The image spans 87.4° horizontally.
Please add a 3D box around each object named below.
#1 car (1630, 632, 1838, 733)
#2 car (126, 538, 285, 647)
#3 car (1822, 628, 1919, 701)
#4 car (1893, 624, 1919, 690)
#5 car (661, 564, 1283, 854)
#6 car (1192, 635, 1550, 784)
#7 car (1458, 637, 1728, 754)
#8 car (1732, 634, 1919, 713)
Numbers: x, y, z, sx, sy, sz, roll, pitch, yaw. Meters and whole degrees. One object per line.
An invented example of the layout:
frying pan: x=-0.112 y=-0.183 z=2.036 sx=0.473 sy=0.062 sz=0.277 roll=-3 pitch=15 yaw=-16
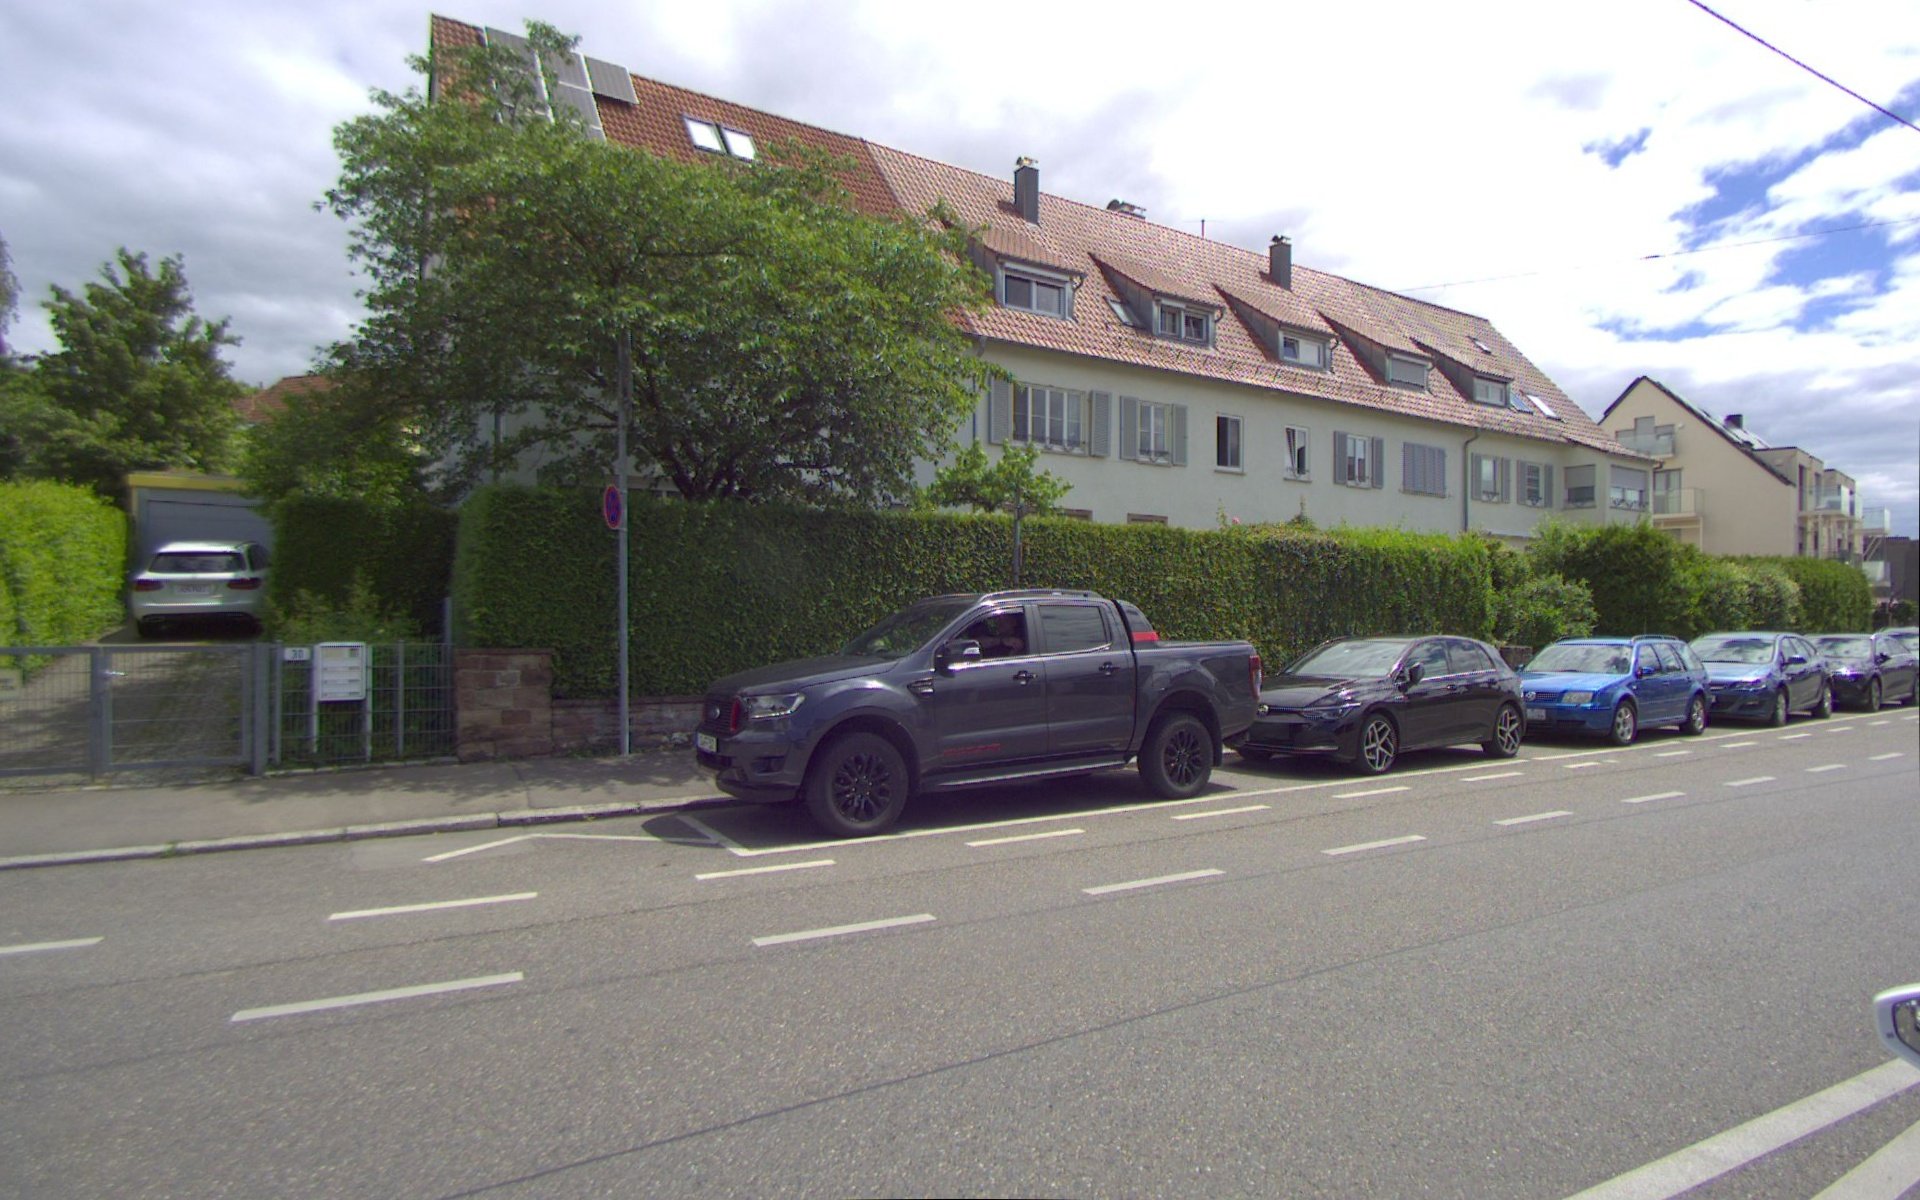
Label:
car: x=13.414 y=1.316 z=17.315 sx=4.524 sy=1.511 sz=1.764 roll=1 pitch=-1 yaw=-38
car: x=-12.616 y=-0.201 z=17.019 sx=1.707 sy=1.573 sz=3.966 roll=1 pitch=3 yaw=-31
car: x=22.518 y=1.469 z=23.808 sx=4.639 sy=1.584 sz=1.982 roll=1 pitch=-1 yaw=-33
car: x=26.762 y=1.500 z=26.724 sx=4.472 sy=1.672 sz=1.981 roll=1 pitch=-1 yaw=-35
car: x=0.281 y=0.815 z=8.952 sx=5.344 sy=1.920 sz=1.983 roll=1 pitch=-3 yaw=-33
car: x=4.880 y=1.135 z=11.743 sx=4.293 sy=1.436 sz=1.767 roll=1 pitch=-1 yaw=-33
car: x=9.273 y=1.269 z=14.610 sx=4.395 sy=1.436 sz=1.766 roll=1 pitch=-1 yaw=-35
car: x=17.942 y=1.423 z=20.568 sx=4.639 sy=1.427 sz=1.982 roll=1 pitch=-1 yaw=-33
